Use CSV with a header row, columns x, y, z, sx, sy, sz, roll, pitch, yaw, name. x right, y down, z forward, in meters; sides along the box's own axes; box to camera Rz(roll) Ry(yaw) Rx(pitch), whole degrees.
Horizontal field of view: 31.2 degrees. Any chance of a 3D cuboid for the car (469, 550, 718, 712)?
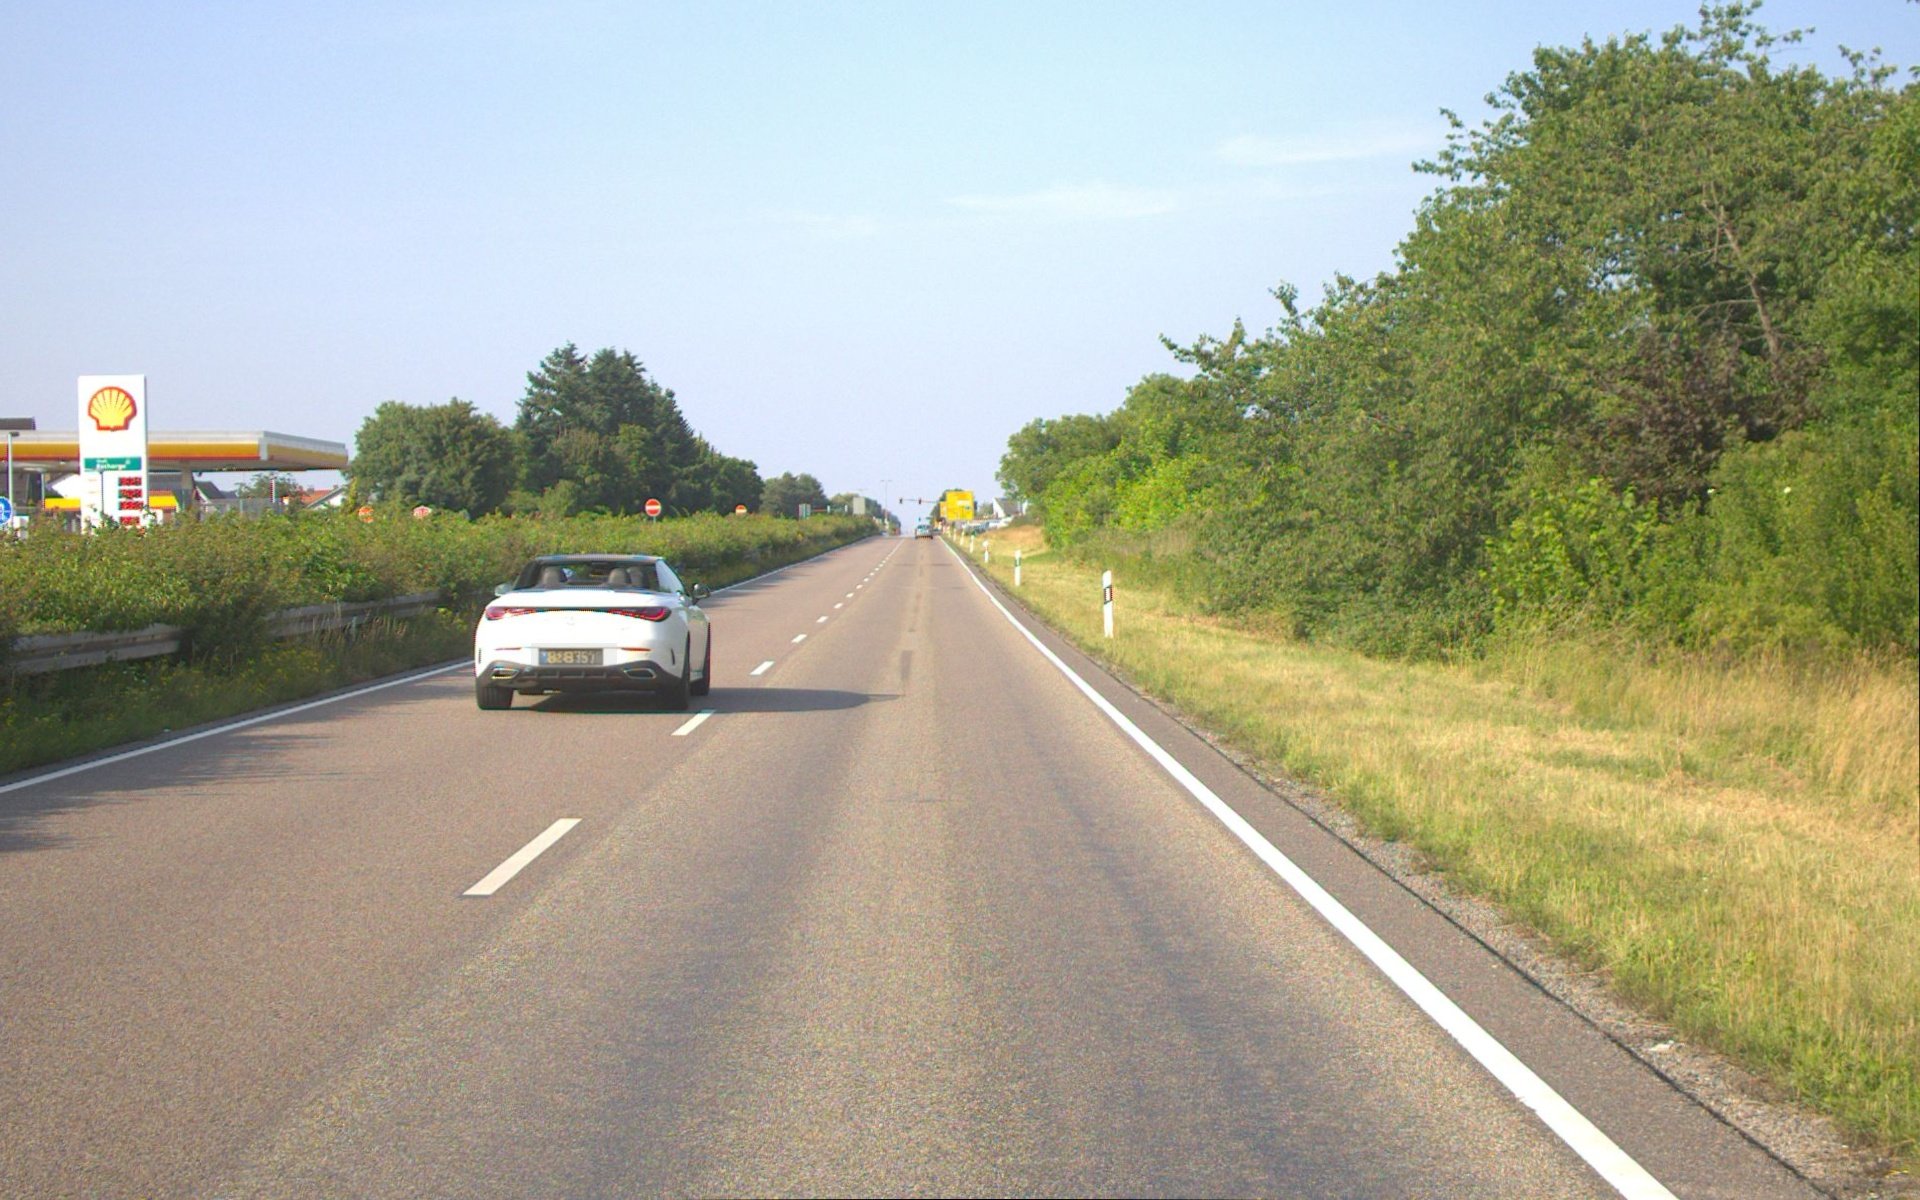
x,y,z,sx,sy,sz,roll,pitch,yaw,name
-3.287,0.225,31.678,1.771,1.333,4.950,1,1,0,car
